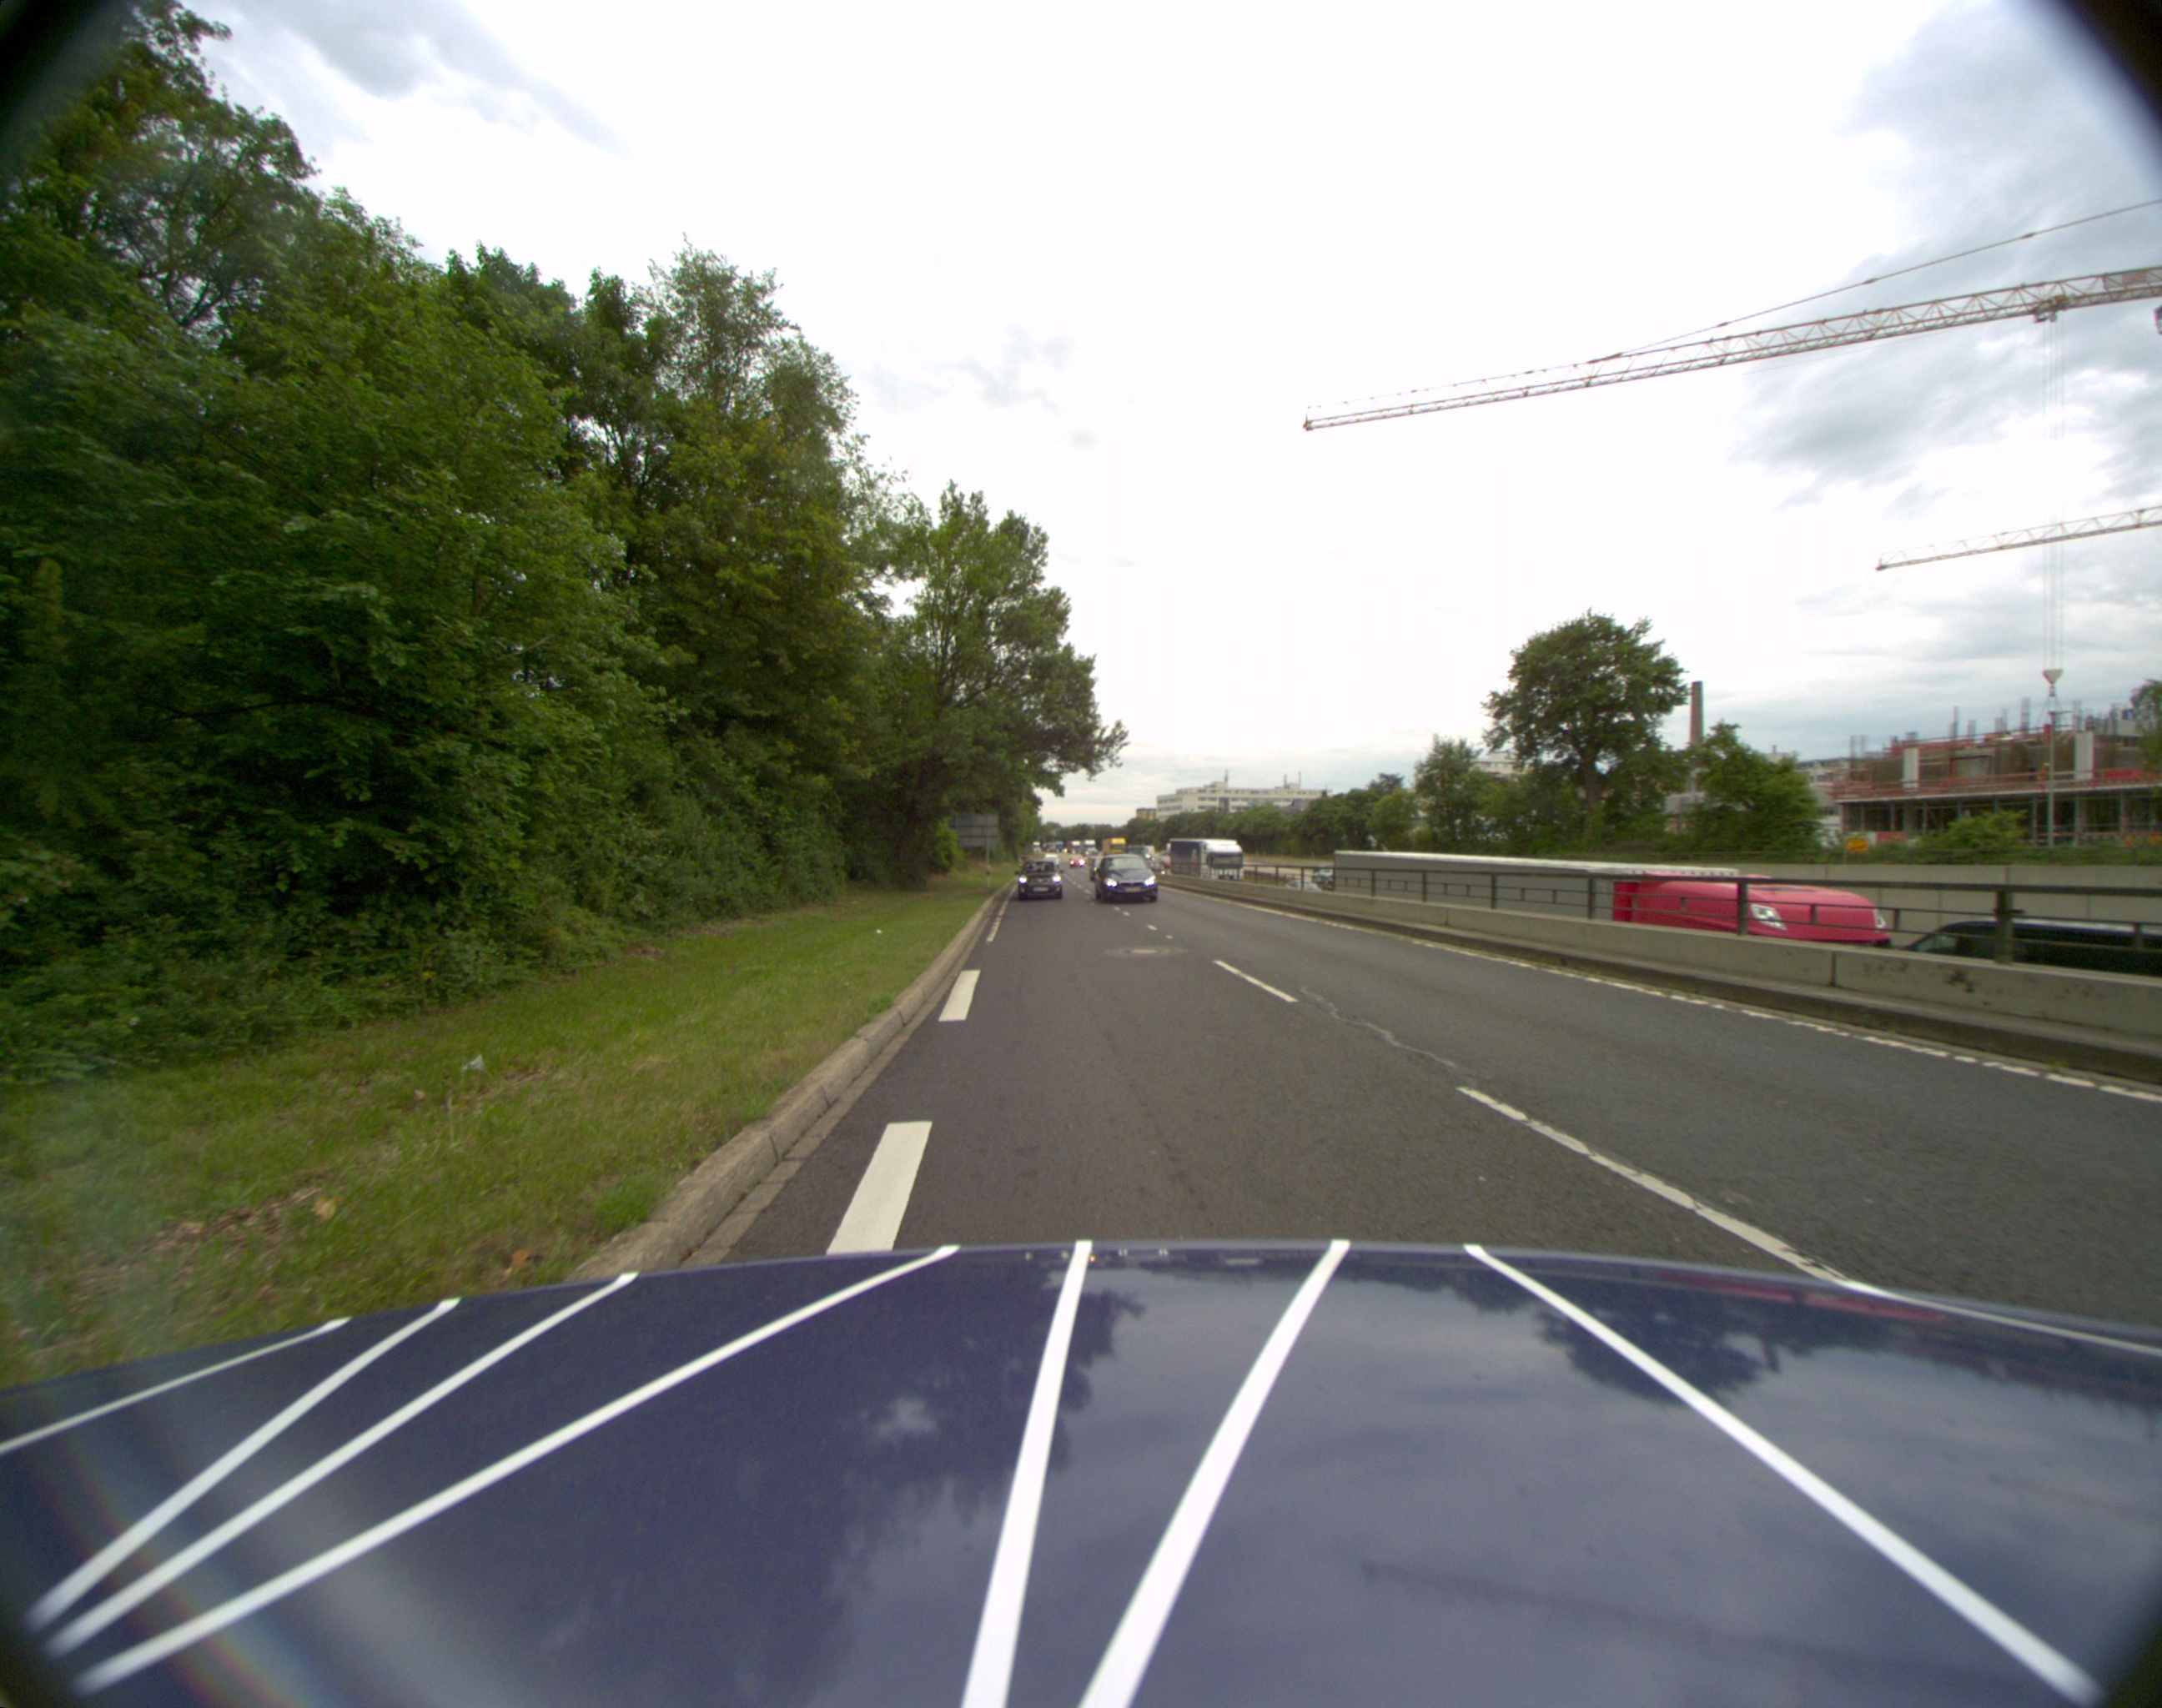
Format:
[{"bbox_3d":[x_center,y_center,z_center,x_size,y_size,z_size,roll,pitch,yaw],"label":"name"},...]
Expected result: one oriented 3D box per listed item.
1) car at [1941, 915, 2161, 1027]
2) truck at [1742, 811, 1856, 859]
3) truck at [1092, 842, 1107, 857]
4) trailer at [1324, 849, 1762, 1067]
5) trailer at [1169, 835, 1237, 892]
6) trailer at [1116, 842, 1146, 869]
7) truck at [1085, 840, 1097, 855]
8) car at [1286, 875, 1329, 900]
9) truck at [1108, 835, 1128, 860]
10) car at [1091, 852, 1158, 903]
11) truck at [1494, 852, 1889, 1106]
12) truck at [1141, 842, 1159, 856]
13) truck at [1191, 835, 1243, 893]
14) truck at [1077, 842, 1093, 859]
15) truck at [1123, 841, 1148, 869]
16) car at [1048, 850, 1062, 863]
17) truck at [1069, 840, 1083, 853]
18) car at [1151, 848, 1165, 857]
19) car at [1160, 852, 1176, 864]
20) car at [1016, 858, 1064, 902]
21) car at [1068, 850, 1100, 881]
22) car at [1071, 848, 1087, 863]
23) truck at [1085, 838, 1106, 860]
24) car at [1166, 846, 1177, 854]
[{"bbox_3d":[23.495,2.604,17.012,1.999,2.002,5.483,-1,0,-5],"label":"car"},{"bbox_3d":[48.893,-1.252,52.000,2.020,2.970,7.102,-2,1,10],"label":"truck"},{"bbox_3d":[3.983,-1.025,168.186,2.957,3.167,13.775,0,1,-1],"label":"truck"},{"bbox_3d":[11.075,1.917,21.630,2.659,4.013,14.546,0,1,-4],"label":"trailer"},{"bbox_3d":[9.565,0.596,61.446,2.531,4.013,14.778,0,1,-2],"label":"trailer"},{"bbox_3d":[7.122,0.039,110.098,2.614,3.620,16.743,0,1,-2],"label":"trailer"},{"bbox_3d":[2.656,-1.913,209.178,2.957,4.013,13.774,0,1,-1],"label":"truck"},{"bbox_3d":[15.154,2.202,51.004,1.628,1.433,3.896,0,1,-1],"label":"car"},{"bbox_3d":[6.553,-1.158,135.217,2.894,4.319,6.516,0,1,-2],"label":"truck"},{"bbox_3d":[1.423,0.752,26.554,1.785,1.554,4.419,-2,1,-4],"label":"car"},{"bbox_3d":[11.525,1.996,15.341,2.713,4.013,6.200,0,1,-4],"label":"truck"},{"bbox_3d":[16.477,-1.212,182.891,2.957,3.167,13.775,0,1,-1],"label":"truck"},{"bbox_3d":[9.820,0.669,55.463,2.531,4.013,6.094,0,1,-2],"label":"truck"},{"bbox_3d":[0.732,-0.687,149.070,2.957,3.167,13.775,0,1,-1],"label":"truck"},{"bbox_3d":[7.396,0.109,103.297,2.646,3.614,6.665,0,1,-2],"label":"truck"},{"bbox_3d":[-3.218,0.301,93.713,1.628,1.433,3.998,-2,1,-2],"label":"car"},{"bbox_3d":[-1.605,-2.347,245.470,2.533,4.013,13.766,0,1,-8],"label":"truck"},{"bbox_3d":[12.553,-0.299,124.227,1.628,1.433,3.998,-2,1,-2],"label":"car"},{"bbox_3d":[11.754,0.507,102.868,1.628,1.433,3.998,-2,1,-2],"label":"car"},{"bbox_3d":[-1.519,0.932,28.704,1.628,1.433,3.998,-2,1,-2],"label":"car"},{"bbox_3d":[0.168,0.699,48.316,1.769,1.786,4.576,-2,1,-2],"label":"car"},{"bbox_3d":[-0.283,0.162,97.937,1.769,1.786,4.576,-2,1,-2],"label":"car"},{"bbox_3d":[2.024,-0.804,110.858,2.525,2.961,13.775,0,1,-1],"label":"truck"},{"bbox_3d":[17.911,-0.797,150.714,1.628,1.433,3.998,-2,1,-2],"label":"car"}]
